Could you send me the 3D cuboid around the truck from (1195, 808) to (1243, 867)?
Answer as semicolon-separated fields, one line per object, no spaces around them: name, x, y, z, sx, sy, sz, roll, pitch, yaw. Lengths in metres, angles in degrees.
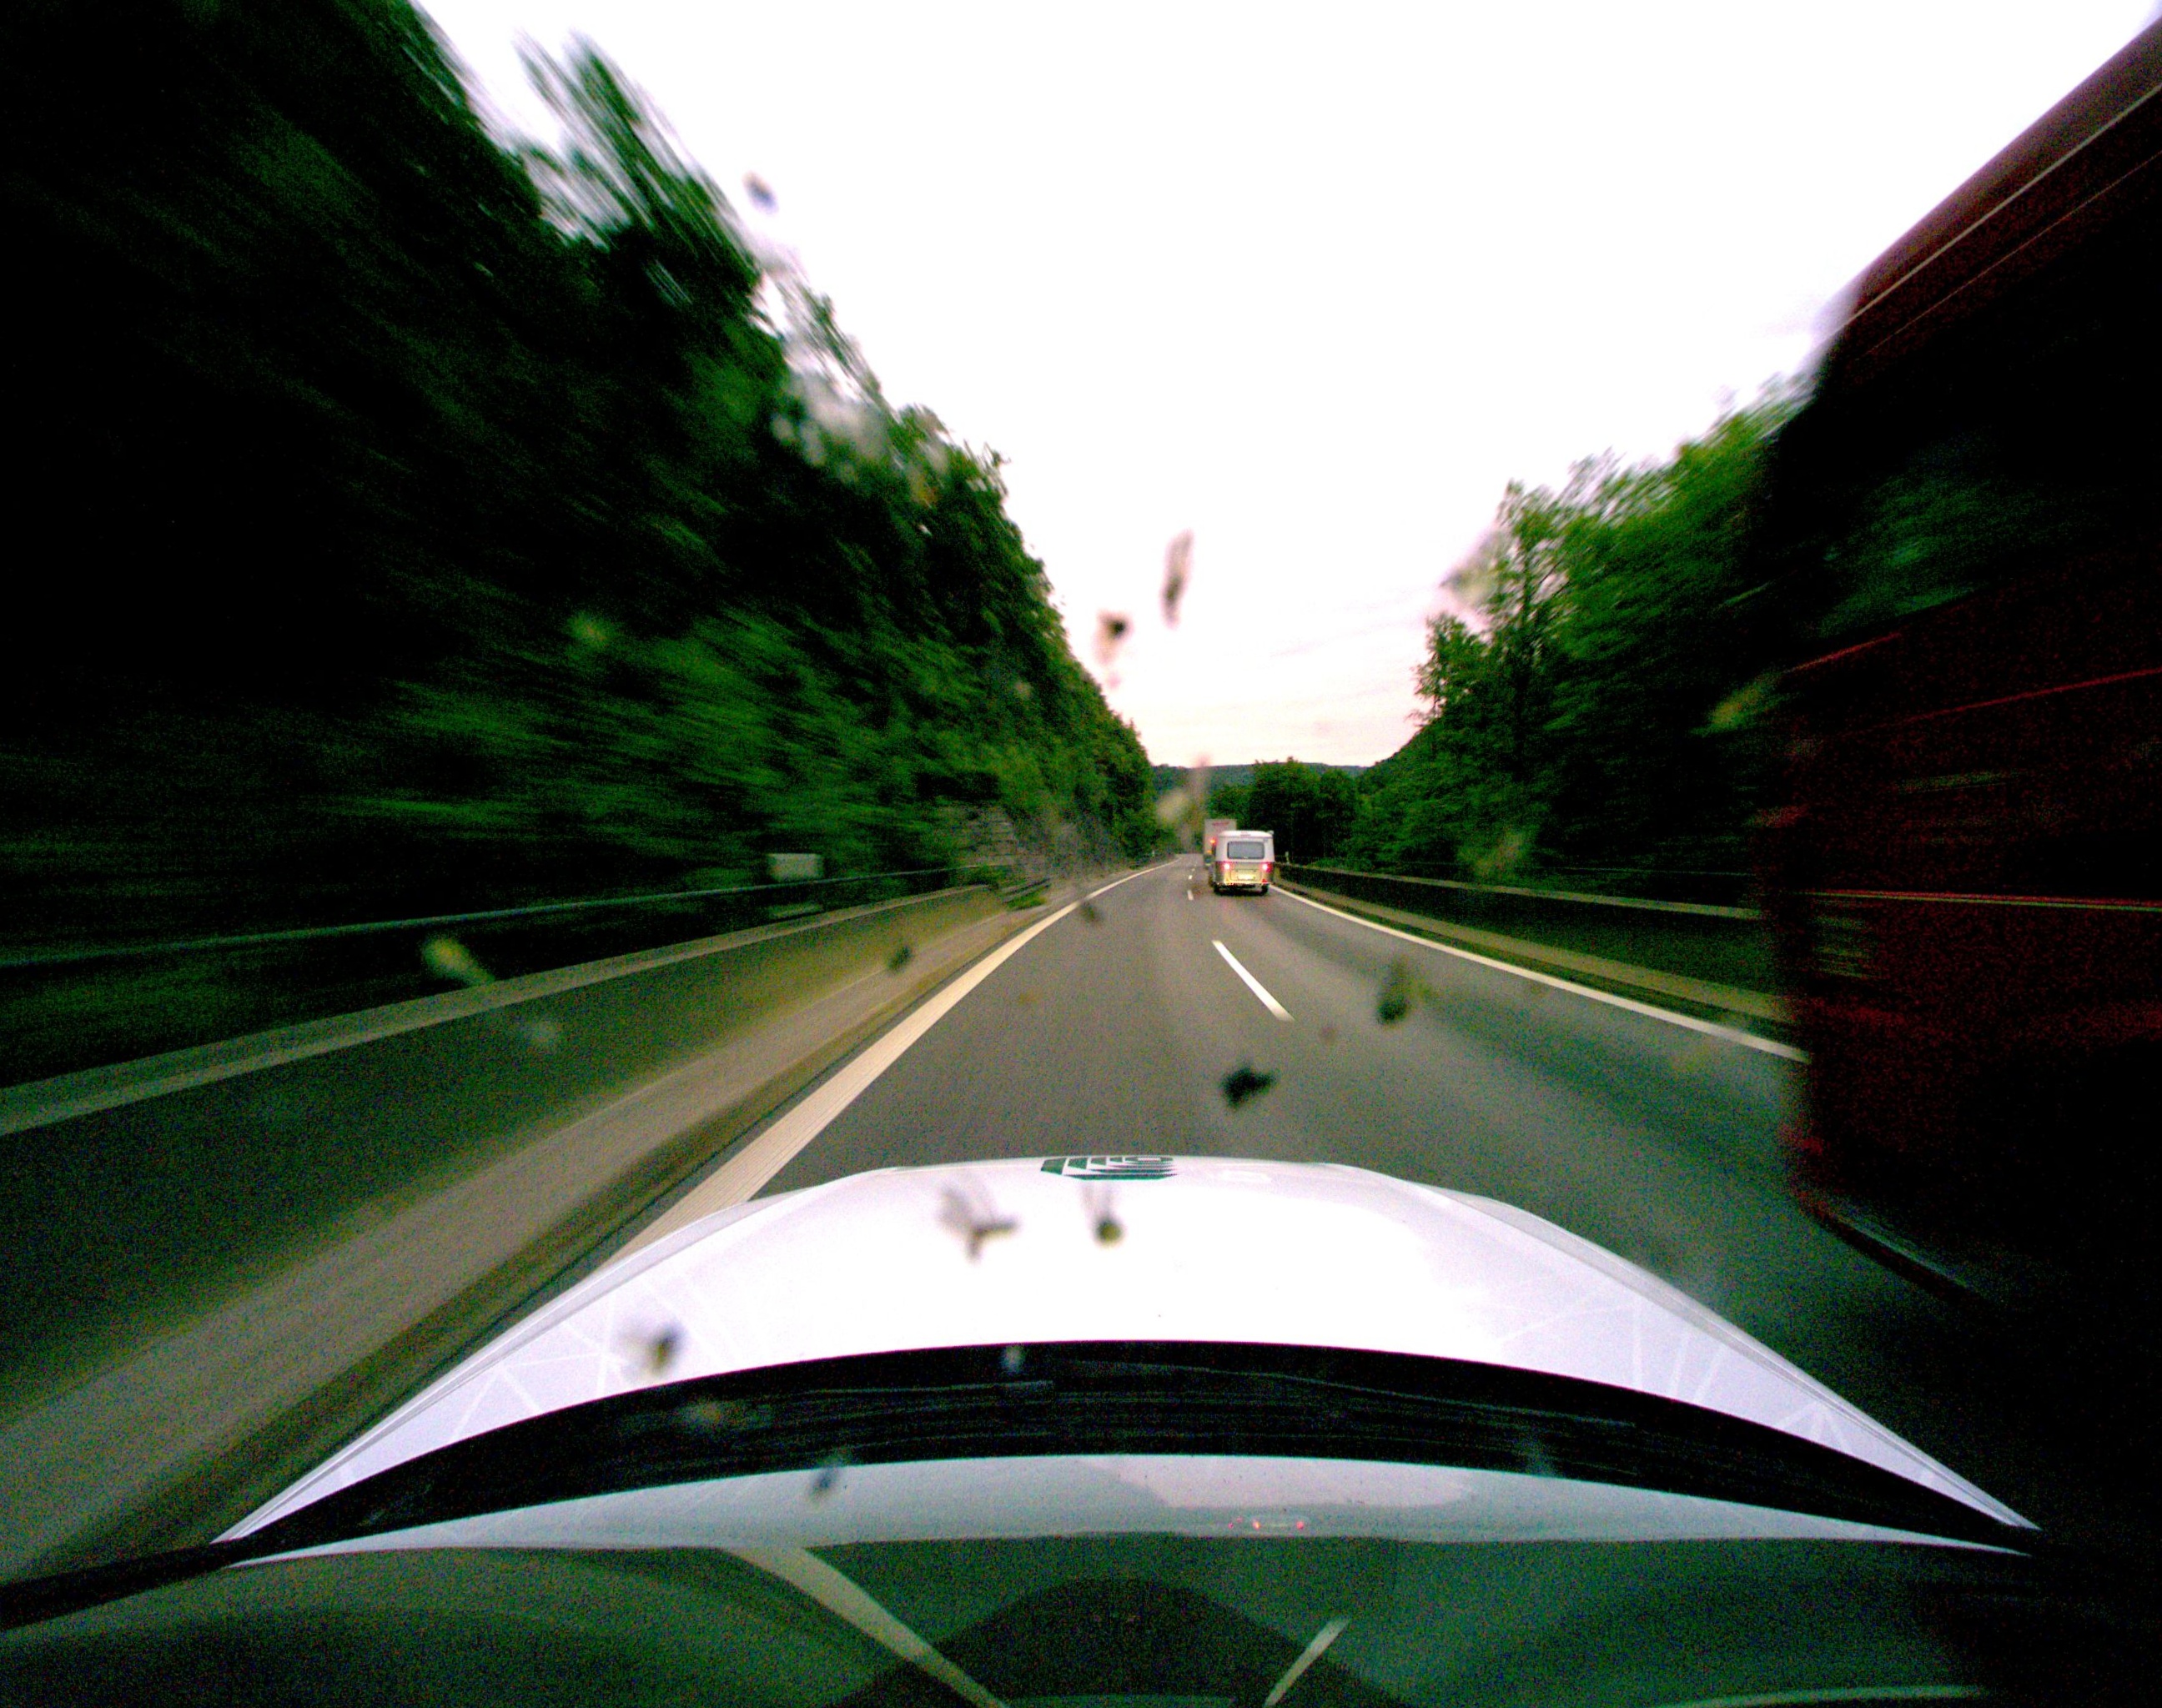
truck;11.864;-1.281;69.886;3.275;4.172;16.548;-5;-1;10

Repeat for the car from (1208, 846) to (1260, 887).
car;6.606;0.501;35.616;1.982;1.614;4.876;1;0;8

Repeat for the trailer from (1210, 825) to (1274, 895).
trailer;5.940;0.192;30.620;2.043;2.375;5.952;-1;0;8
